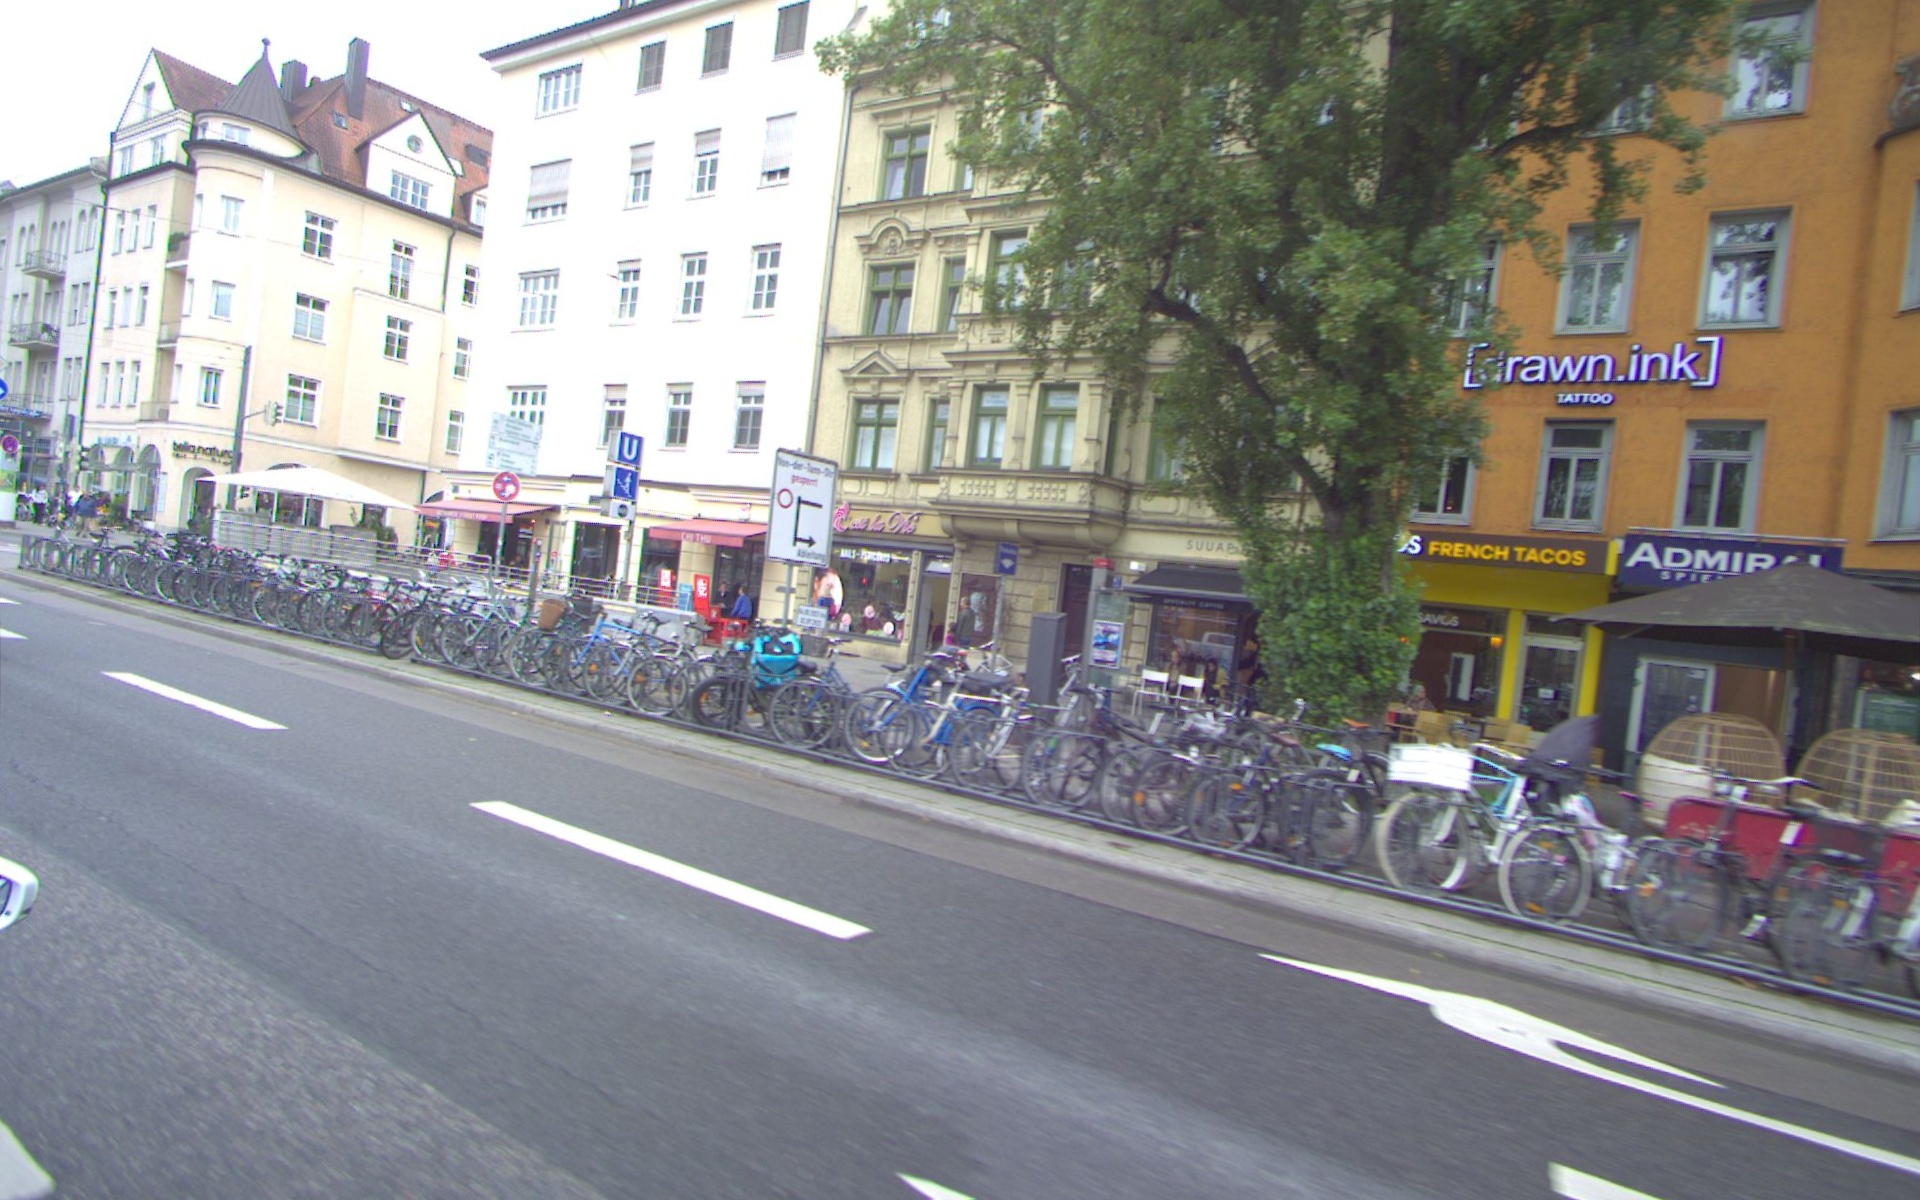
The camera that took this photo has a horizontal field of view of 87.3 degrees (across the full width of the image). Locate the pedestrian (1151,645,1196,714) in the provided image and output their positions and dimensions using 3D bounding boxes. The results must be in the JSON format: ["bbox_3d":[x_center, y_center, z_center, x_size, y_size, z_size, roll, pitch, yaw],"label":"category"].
[{"bbox_3d":[4.234,1.573,19.971,0.573,1.296,0.584,7,1,31],"label":"pedestrian"}]

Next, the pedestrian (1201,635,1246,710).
[{"bbox_3d":[5.579,1.531,21.285,0.574,1.493,0.625,7,1,34],"label":"pedestrian"}]

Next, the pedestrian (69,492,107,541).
[{"bbox_3d":[-34.435,-3.314,39.717,1.051,1.777,0.931,8,1,43],"label":"pedestrian"}]

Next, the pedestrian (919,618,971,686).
[{"bbox_3d":[-0.294,1.016,19.540,0.655,1.237,0.601,7,1,32],"label":"pedestrian"}]

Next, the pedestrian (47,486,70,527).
[{"bbox_3d":[-37.989,-3.940,42.398,0.559,1.631,0.560,6,4,-45],"label":"pedestrian"}]

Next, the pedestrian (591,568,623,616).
[{"bbox_3d":[-10.312,-0.233,29.371,0.543,1.305,0.541,7,1,32],"label":"pedestrian"}]

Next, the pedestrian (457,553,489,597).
[{"bbox_3d":[-15.787,-0.815,32.630,0.691,1.308,0.515,7,1,30],"label":"pedestrian"}]

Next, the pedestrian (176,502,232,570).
[{"bbox_3d":[-20.611,-1.741,27.434,0.753,1.716,0.761,7,1,7],"label":"pedestrian"}]

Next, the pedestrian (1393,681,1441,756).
[{"bbox_3d":[8.073,2.079,17.762,0.573,1.233,0.623,7,1,31],"label":"pedestrian"}]

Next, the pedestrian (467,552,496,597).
[{"bbox_3d":[-15.008,-0.790,31.558,0.518,1.315,0.479,7,1,30],"label":"pedestrian"}]

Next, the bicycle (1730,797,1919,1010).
[{"bbox_3d":[5.424,1.770,5.728,1.811,1.008,0.375,9,1,-8],"label":"bicycle"}]

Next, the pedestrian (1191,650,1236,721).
[{"bbox_3d":[4.919,1.655,19.517,0.573,1.296,0.584,7,1,31],"label":"pedestrian"}]

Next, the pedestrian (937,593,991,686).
[{"bbox_3d":[0.086,0.784,19.862,0.655,1.761,0.601,7,1,32],"label":"pedestrian"}]

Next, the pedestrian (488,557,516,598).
[{"bbox_3d":[-14.147,-0.684,31.062,0.518,1.180,0.479,7,1,30],"label":"pedestrian"}]

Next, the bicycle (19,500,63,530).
[{"bbox_3d":[-40.243,-3.733,44.066,1.831,1.072,0.496,7,1,17],"label":"bicycle"}]

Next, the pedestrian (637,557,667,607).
[{"bbox_3d":[-9.154,-0.542,29.903,0.481,1.414,0.509,7,1,37],"label":"pedestrian"}]

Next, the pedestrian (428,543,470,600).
[{"bbox_3d":[-13.998,-0.772,27.546,0.606,1.440,0.676,7,1,32],"label":"pedestrian"}]

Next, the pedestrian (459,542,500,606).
[{"bbox_3d":[-13.194,-0.709,27.639,0.666,1.653,0.615,7,1,32],"label":"pedestrian"}]

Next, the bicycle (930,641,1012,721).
[{"bbox_3d":[0.192,1.191,14.755,0.380,1.058,1.727,9,0,26],"label":"bicycle"}]

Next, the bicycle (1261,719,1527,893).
[{"bbox_3d":[3.153,1.497,7.297,1.814,1.008,0.374,9,1,-14],"label":"bicycle"}]

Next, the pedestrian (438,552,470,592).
[{"bbox_3d":[-16.555,-0.916,32.921,0.691,1.197,0.515,7,1,30],"label":"pedestrian"}]

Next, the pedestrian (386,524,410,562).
[{"bbox_3d":[-27.917,-2.837,49.938,0.736,1.727,0.679,12,4,41],"label":"pedestrian"}]

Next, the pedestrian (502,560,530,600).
[{"bbox_3d":[-13.932,-0.633,31.551,0.518,1.180,0.479,7,1,30],"label":"pedestrian"}]

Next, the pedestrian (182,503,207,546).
[{"bbox_3d":[-33.358,-3.293,43.865,0.676,1.707,0.739,7,4,-34],"label":"pedestrian"}]

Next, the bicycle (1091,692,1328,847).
[{"bbox_3d":[1.985,1.353,7.940,1.817,1.008,0.373,9,1,-21],"label":"bicycle"}]

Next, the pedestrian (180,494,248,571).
[{"bbox_3d":[-18.524,-1.661,24.997,0.842,1.765,0.884,7,1,16],"label":"pedestrian"}]

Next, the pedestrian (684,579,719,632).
[{"bbox_3d":[-6.765,0.157,26.331,0.543,1.305,0.495,7,1,32],"label":"pedestrian"}]

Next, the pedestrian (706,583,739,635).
[{"bbox_3d":[-6.408,0.241,27.107,0.543,1.305,0.495,7,1,32],"label":"pedestrian"}]

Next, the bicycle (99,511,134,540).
[{"bbox_3d":[-39.129,-3.458,46.666,1.833,1.103,0.495,7,1,26],"label":"bicycle"}]

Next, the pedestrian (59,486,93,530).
[{"bbox_3d":[-37.523,-3.899,42.699,0.720,1.727,0.645,9,3,3],"label":"pedestrian"}]

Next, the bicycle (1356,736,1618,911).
[{"bbox_3d":[3.666,1.559,6.967,1.817,1.008,0.373,9,1,-20],"label":"bicycle"}]

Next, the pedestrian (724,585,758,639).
[{"bbox_3d":[-5.748,0.310,26.428,0.543,1.349,0.495,7,1,32],"label":"pedestrian"}]

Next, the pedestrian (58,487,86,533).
[{"bbox_3d":[-36.939,-3.756,41.858,0.645,1.774,0.630,7,4,-36],"label":"pedestrian"}]

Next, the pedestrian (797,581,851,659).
[{"bbox_3d":[-3.078,0.467,22.816,0.773,1.653,0.711,7,1,32],"label":"pedestrian"}]

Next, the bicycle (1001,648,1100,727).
[{"bbox_3d":[1.380,1.337,15.089,0.382,1.058,1.720,9,0,42],"label":"bicycle"}]

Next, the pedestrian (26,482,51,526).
[{"bbox_3d":[-38.253,-3.989,41.753,0.562,1.693,0.556,7,4,-36],"label":"pedestrian"}]

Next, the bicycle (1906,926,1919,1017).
[{"bbox_3d":[6.045,1.844,5.310,1.811,1.008,0.375,9,1,-8],"label":"bicycle"}]

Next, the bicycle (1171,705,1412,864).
[{"bbox_3d":[2.563,1.428,7.716,1.817,1.008,0.373,9,1,-21],"label":"bicycle"}]

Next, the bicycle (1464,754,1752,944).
[{"bbox_3d":[4.211,1.622,6.522,1.815,1.008,0.374,9,1,-17],"label":"bicycle"}]

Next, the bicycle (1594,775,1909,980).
[{"bbox_3d":[4.852,1.702,6.160,1.813,1.008,0.374,9,1,-14],"label":"bicycle"}]
